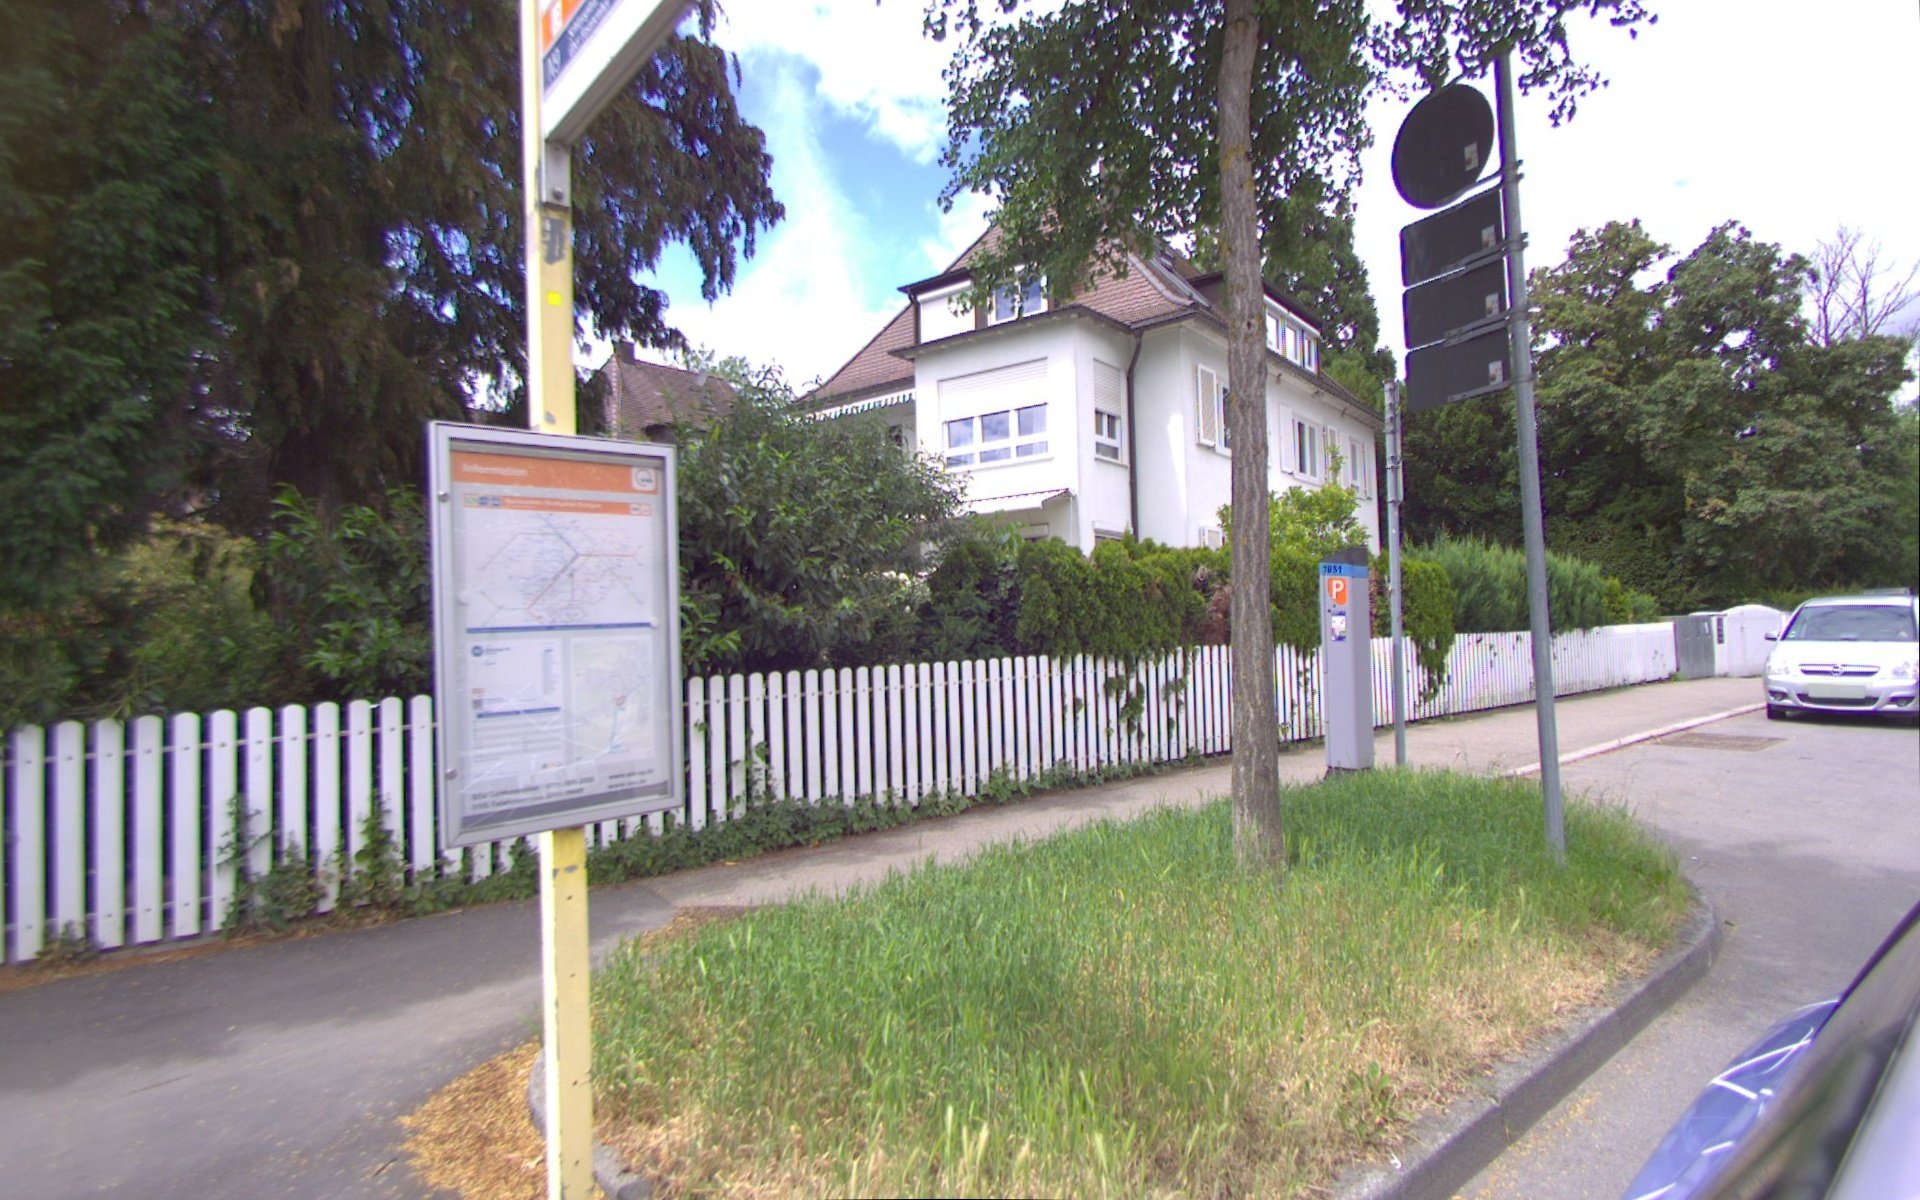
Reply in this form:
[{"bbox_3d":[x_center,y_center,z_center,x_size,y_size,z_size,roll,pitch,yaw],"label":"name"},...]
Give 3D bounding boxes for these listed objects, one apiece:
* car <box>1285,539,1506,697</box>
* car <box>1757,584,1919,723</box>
[{"bbox_3d":[8.853,0.382,20.302,2.494,2.717,5.109,-6,-4,41],"label":"car"},{"bbox_3d":[12.202,0.603,13.486,3.948,1.602,1.762,-1,0,-41],"label":"car"}]
